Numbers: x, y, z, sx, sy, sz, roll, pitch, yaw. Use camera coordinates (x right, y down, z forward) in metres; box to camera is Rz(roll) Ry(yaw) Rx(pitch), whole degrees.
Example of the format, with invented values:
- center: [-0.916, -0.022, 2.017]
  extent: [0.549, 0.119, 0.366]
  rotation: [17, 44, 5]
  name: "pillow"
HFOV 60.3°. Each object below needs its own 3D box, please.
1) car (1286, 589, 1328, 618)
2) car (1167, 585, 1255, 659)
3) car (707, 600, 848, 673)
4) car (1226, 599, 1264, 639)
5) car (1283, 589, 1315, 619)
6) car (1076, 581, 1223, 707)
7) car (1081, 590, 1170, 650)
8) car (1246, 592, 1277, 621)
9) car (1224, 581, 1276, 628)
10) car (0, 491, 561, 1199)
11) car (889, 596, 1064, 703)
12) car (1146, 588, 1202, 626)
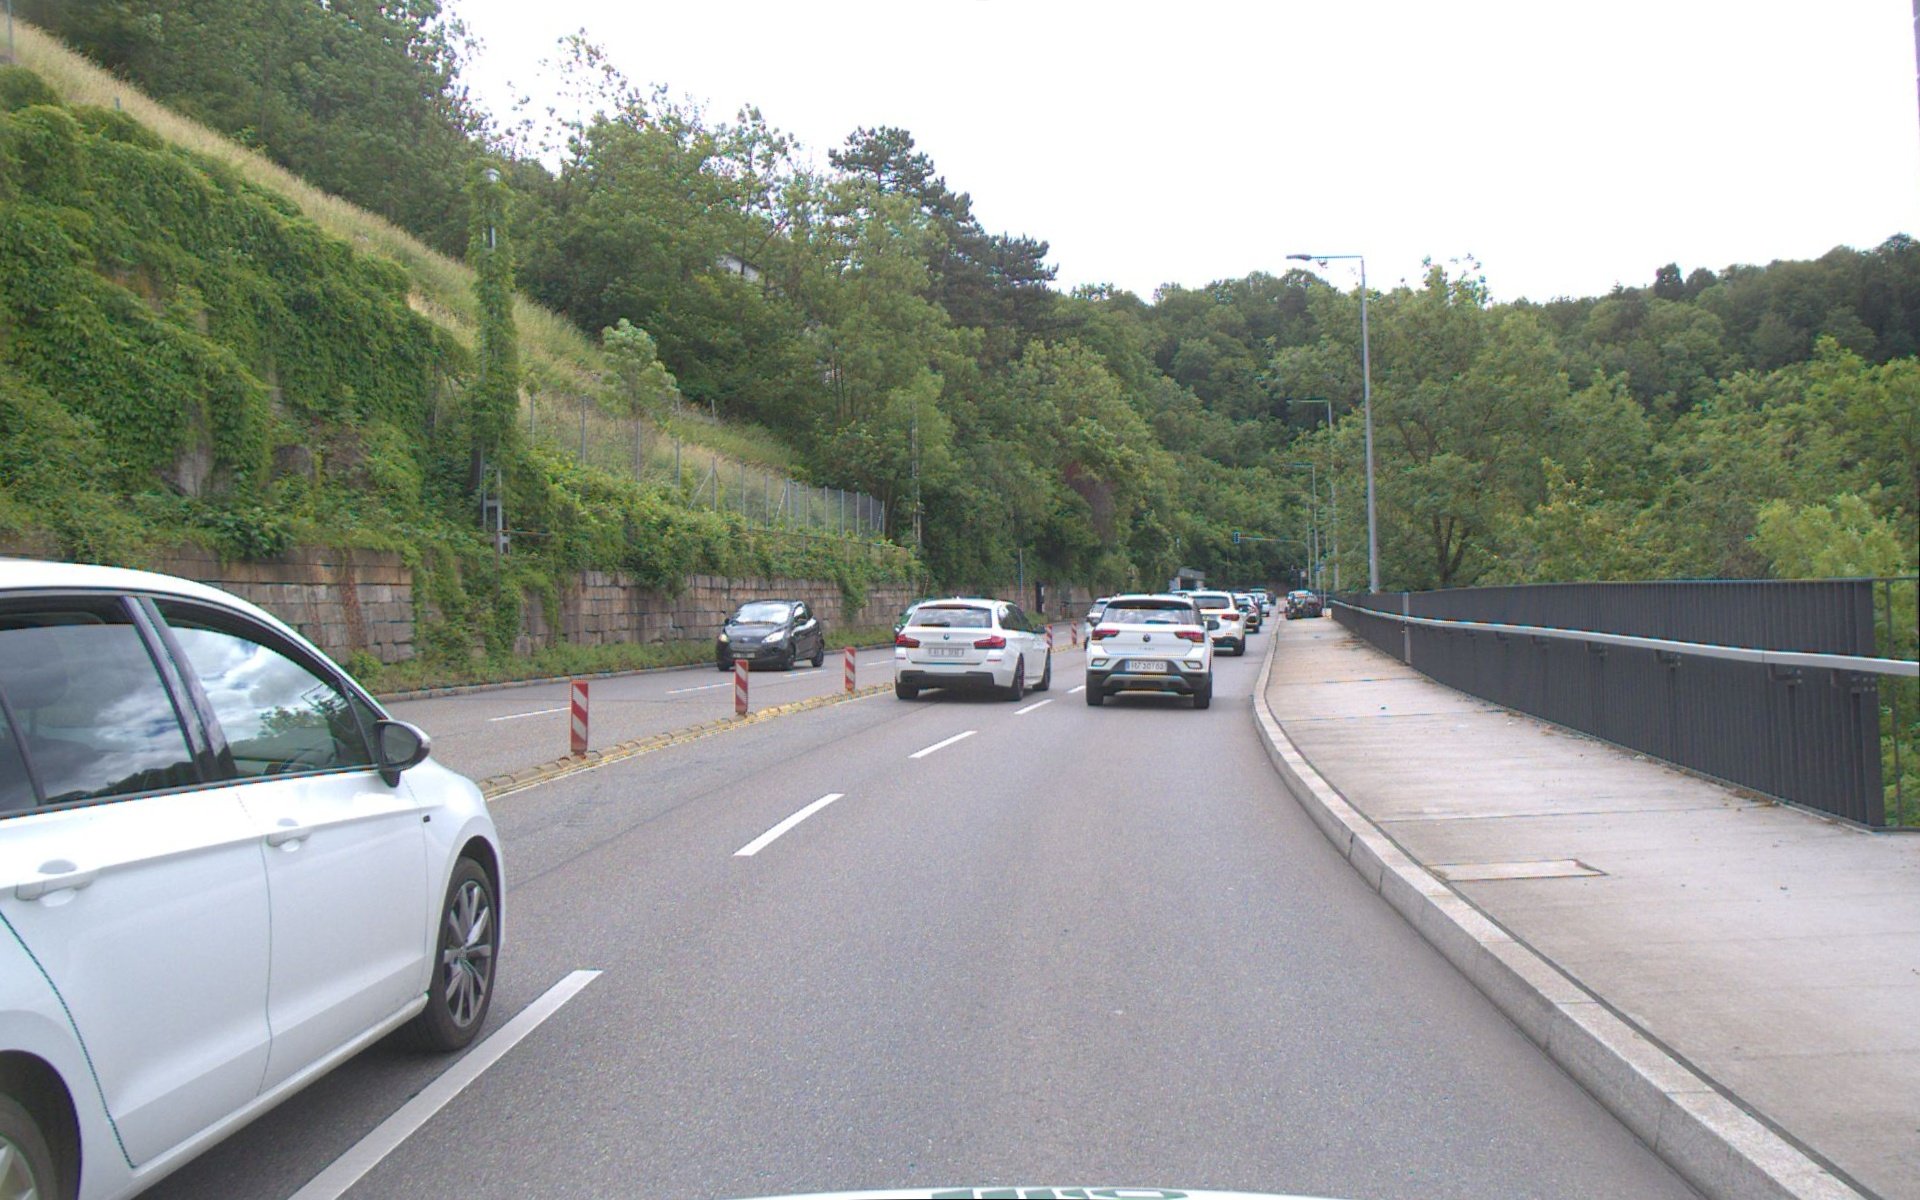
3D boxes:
- center: [18.390, 0.184, 87.779]
  extent: [1.776, 1.534, 4.002]
  rotation: [0, 0, 5]
  name: "car"
- center: [6.718, 0.570, 43.971]
  extent: [1.951, 1.748, 4.117]
  rotation: [-4, -1, 12]
  name: "car"
- center: [-3.859, 0.746, 35.637]
  extent: [1.670, 1.467, 4.003]
  rotation: [0, 0, 15]
  name: "car"
- center: [13.410, 0.896, 77.722]
  extent: [1.707, 1.812, 3.537]
  rotation: [0, 0, 10]
  name: "car"
- center: [21.561, 0.224, 105.047]
  extent: [1.951, 1.748, 4.118]
  rotation: [0, 1, 12]
  name: "car"
- center: [2.876, 0.601, 24.398]
  extent: [1.789, 1.634, 4.003]
  rotation: [2, 0, 11]
  name: "car"
- center: [4.799, 0.538, 47.435]
  extent: [1.951, 1.529, 4.672]
  rotation: [1, 1, 13]
  name: "car"
- center: [19.607, 0.431, 107.503]
  extent: [1.951, 1.892, 4.003]
  rotation: [0, 0, 10]
  name: "car"
- center: [11.226, 0.190, 64.119]
  extent: [1.951, 1.747, 4.003]
  rotation: [0, 0, 9]
  name: "car"
- center: [-2.467, 0.621, 4.067]
  extent: [1.783, 1.608, 4.356]
  rotation: [1, -1, 2]
  name: "car"
- center: [0.360, 0.694, 25.331]
  extent: [1.789, 1.485, 4.489]
  rotation: [-1, 0, 12]
  name: "car"
- center: [9.515, 0.267, 73.274]
  extent: [1.951, 1.529, 4.672]
  rotation: [-1, 1, 13]
  name: "car"
